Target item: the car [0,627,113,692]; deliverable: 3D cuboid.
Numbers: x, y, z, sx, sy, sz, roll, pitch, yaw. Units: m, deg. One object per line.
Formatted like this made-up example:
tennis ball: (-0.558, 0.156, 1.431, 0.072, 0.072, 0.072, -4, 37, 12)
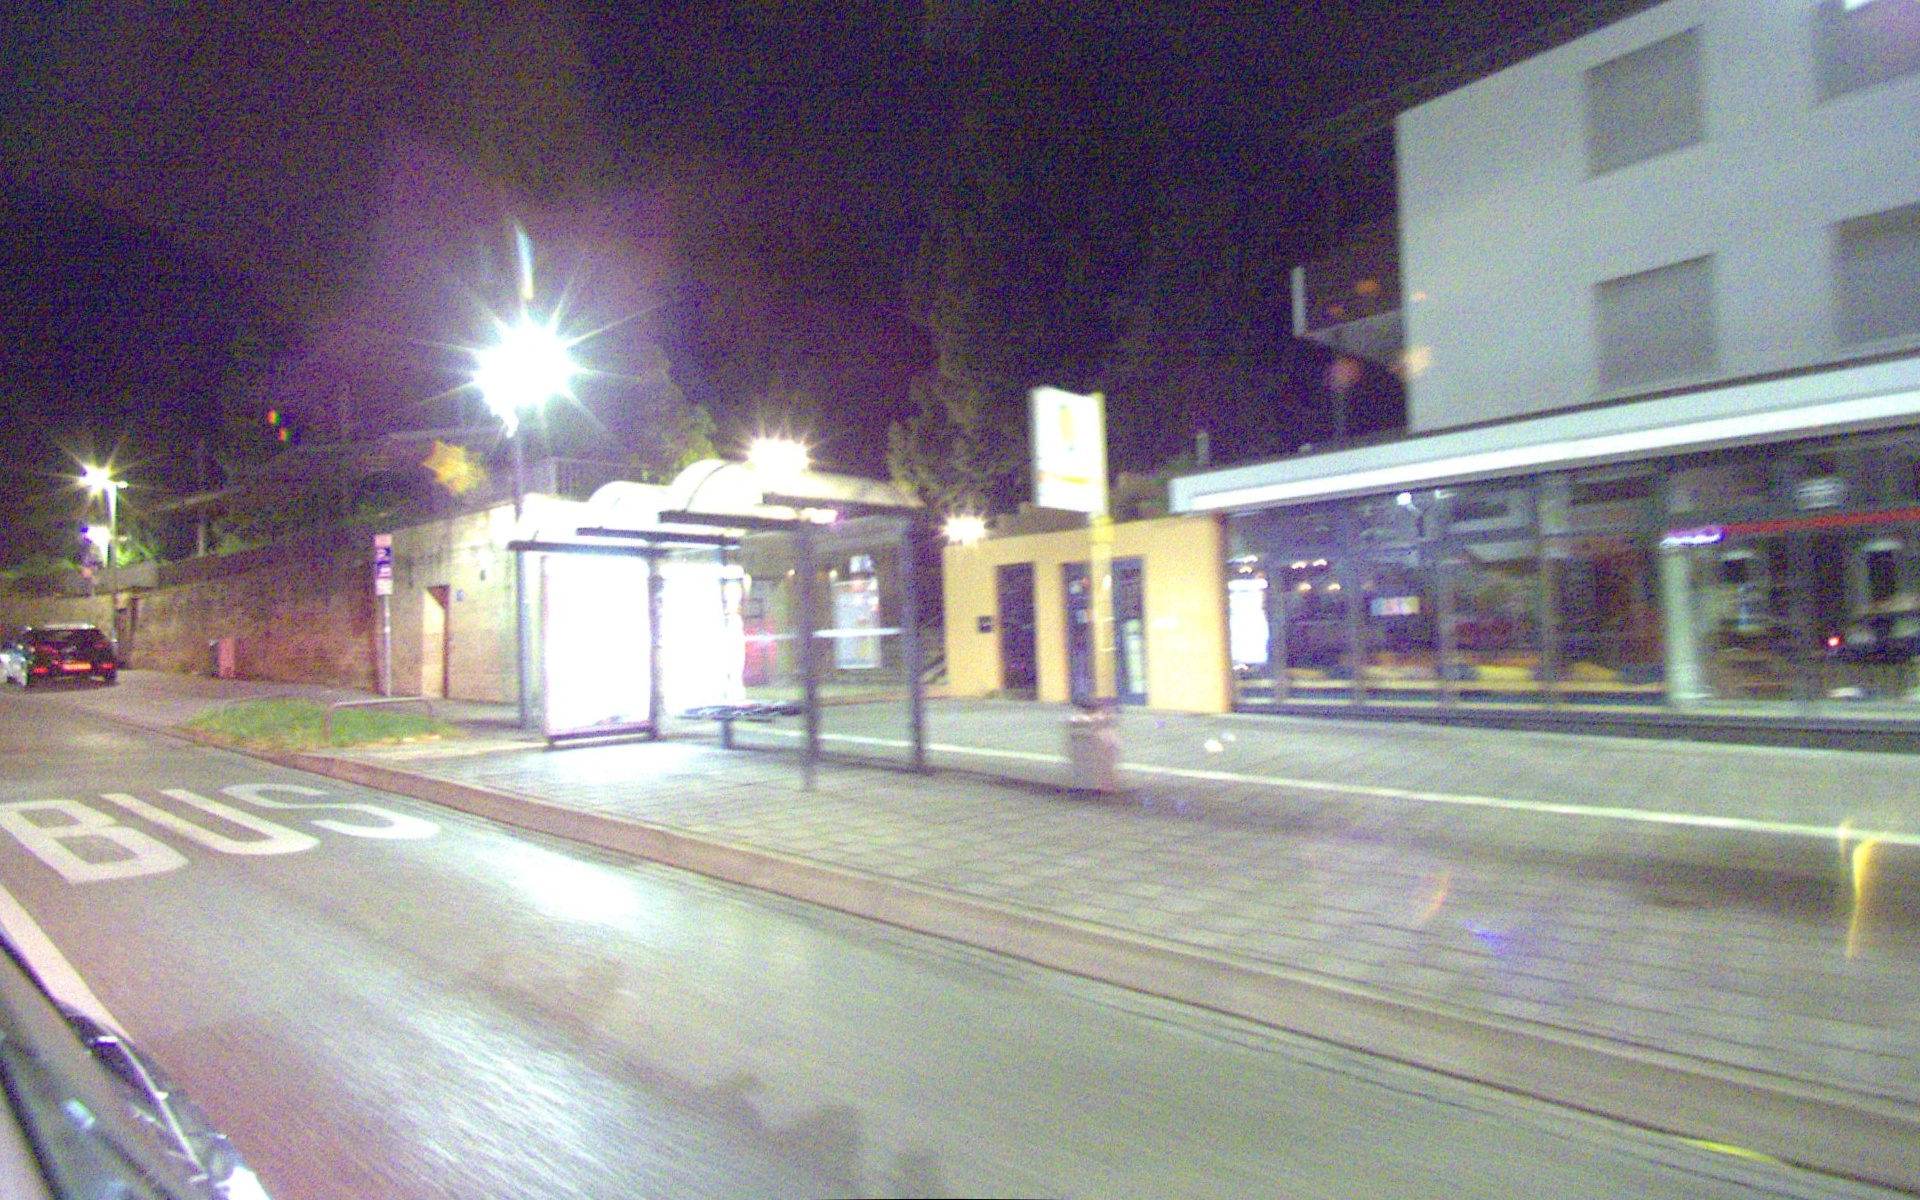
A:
car: (-23.036, 1.439, 25.605, 4.123, 1.447, 1.675, -1, 0, 39)
